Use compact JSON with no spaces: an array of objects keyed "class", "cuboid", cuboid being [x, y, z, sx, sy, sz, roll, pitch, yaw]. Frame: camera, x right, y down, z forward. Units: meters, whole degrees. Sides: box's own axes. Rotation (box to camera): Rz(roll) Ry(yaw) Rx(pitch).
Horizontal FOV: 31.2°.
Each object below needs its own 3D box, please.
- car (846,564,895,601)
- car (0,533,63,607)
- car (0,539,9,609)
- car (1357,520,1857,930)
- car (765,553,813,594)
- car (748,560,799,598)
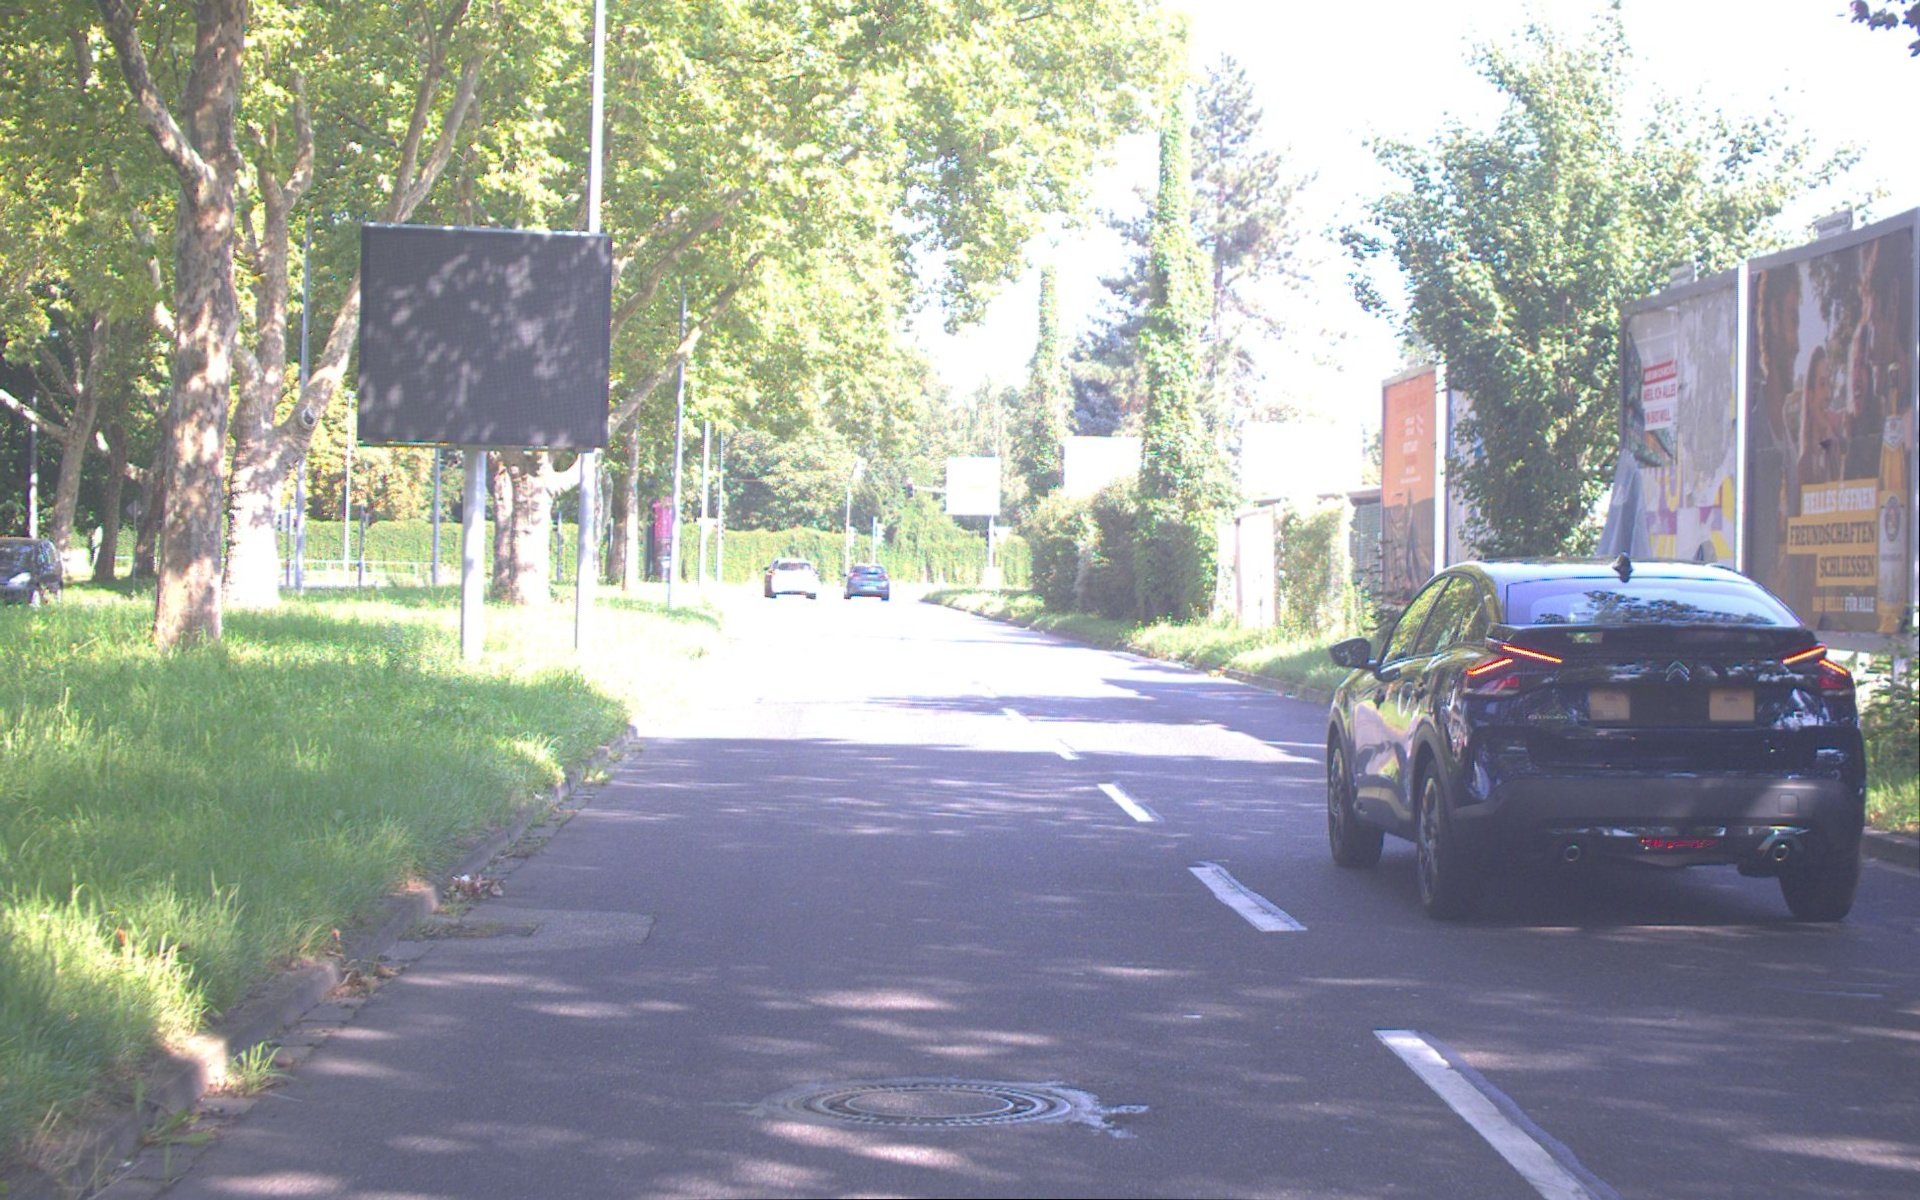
[{"class":"car","cuboid":[-3.637,-0.701,138.494,1.797,1.396,4.000,2,0,-3]},{"class":"car","cuboid":[-23.116,-0.744,83.217,1.699,1.726,4.660,2,0,-2]},{"class":"car","cuboid":[-22.187,-0.592,75.314,1.699,1.562,4.000,1,0,-2]},{"class":"car","cuboid":[2.767,0.480,15.545,1.645,1.583,4.254,1,0,3]},{"class":"car","cuboid":[-6.430,-0.987,129.653,1.687,1.457,4.000,2,0,-2]},{"class":"car","cuboid":[-7.438,-0.841,137.499,1.687,1.457,3.849,2,0,1]}]
